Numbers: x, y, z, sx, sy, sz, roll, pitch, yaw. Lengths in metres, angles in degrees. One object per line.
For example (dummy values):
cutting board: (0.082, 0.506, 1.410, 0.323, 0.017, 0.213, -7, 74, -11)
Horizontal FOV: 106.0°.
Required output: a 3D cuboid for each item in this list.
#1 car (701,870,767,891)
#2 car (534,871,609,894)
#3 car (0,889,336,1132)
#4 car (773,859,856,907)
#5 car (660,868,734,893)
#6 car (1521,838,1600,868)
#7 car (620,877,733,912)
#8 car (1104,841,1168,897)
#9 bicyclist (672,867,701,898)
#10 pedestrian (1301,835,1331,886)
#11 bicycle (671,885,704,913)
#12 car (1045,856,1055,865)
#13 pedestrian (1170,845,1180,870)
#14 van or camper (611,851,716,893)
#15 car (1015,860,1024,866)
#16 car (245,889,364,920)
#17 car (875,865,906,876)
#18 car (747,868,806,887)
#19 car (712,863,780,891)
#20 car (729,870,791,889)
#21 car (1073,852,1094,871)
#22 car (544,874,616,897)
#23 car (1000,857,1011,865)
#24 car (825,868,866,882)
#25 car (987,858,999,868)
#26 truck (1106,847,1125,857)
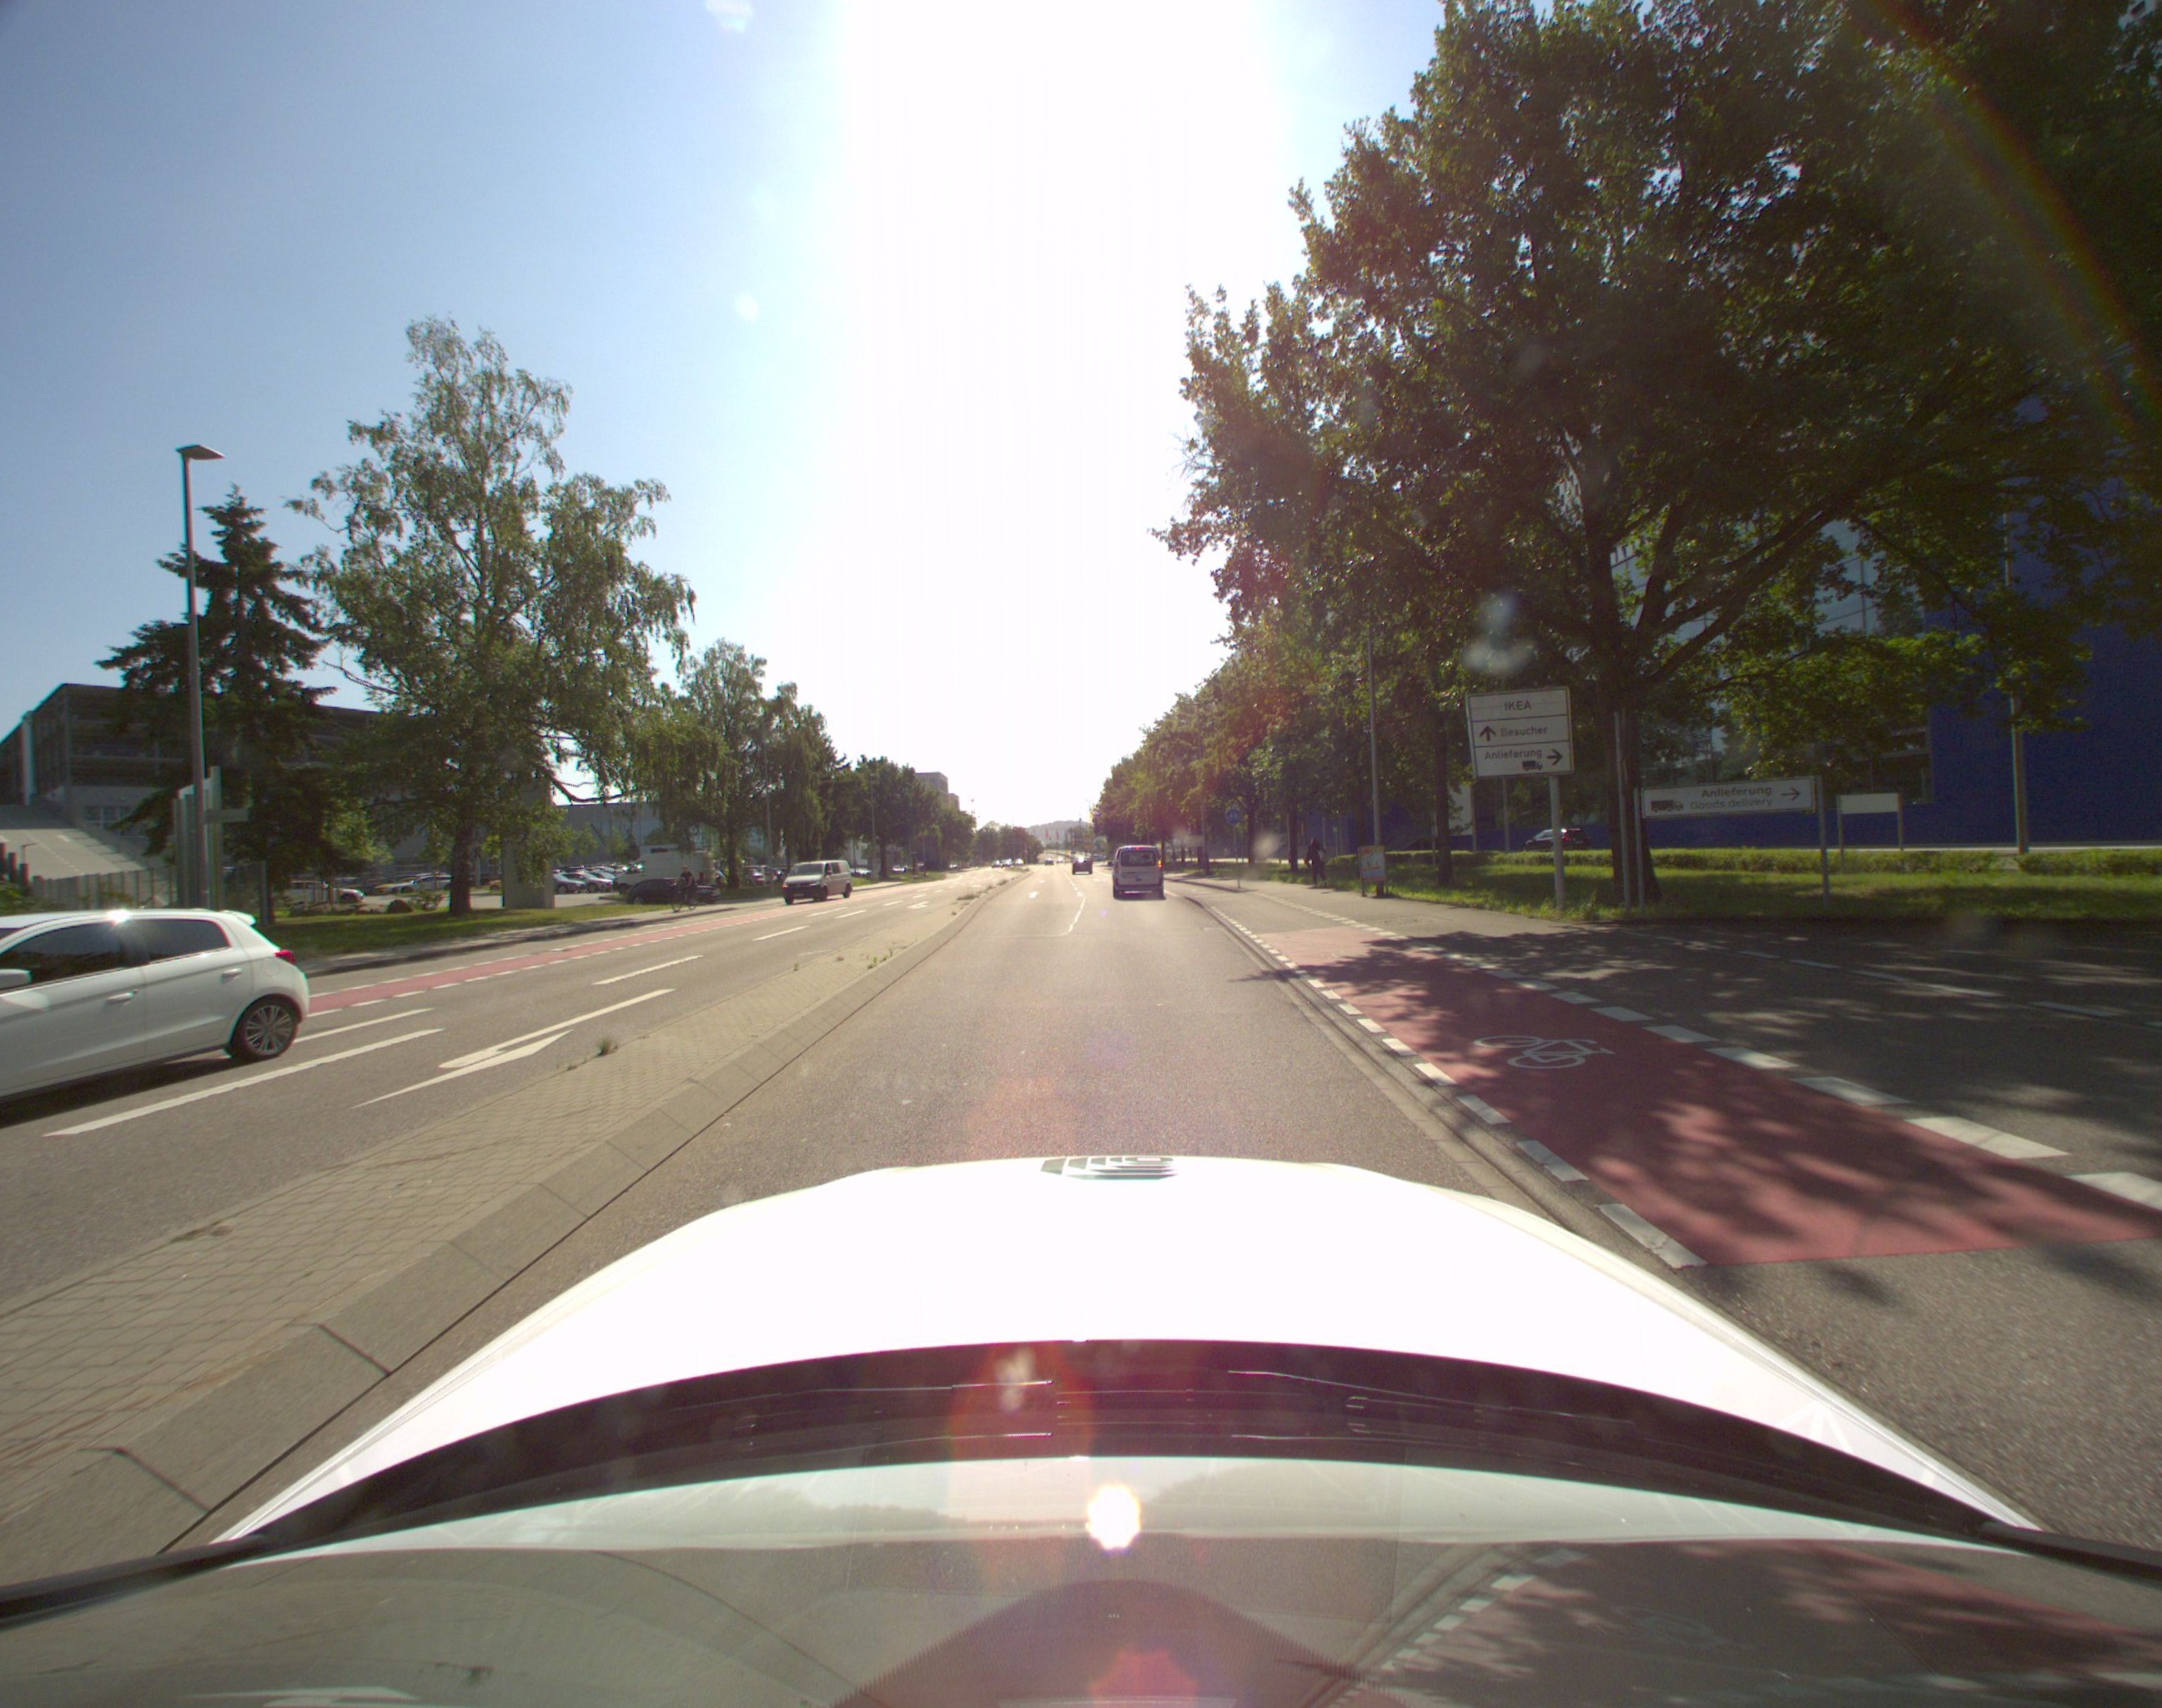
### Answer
car: (-25.425, 1.934, 59.757, 4.073, 1.293, 1.744, -3, 0, 0)
car: (-35.377, 1.976, 56.593, 4.069, 1.354, 1.745, -3, 0, 3)
car: (-8.224, 1.189, 6.146, 1.639, 1.494, 3.826, -4, 1, -2)
car: (-12.973, 1.353, 40.058, 1.985, 2.013, 5.351, -3, 0, 3)
car: (-25.730, 1.761, 54.669, 4.069, 1.438, 1.745, -3, 0, 3)
car: (27.369, -0.051, 46.639, 1.899, 1.520, 4.373, -3, 0, 0)
car: (-20.222, 2.021, 40.832, 4.645, 1.413, 2.002, -3, 0, 4)
car: (1.932, 0.515, 29.631, 1.900, 1.829, 4.178, -3, 0, -1)
bicyclist: (-16.272, 1.163, 33.599, 0.631, 1.227, 0.951, -3, 0, 3)
pedestrian: (7.643, 0.212, 26.525, 0.645, 1.603, 0.846, -3, 0, -1)
bicycle: (-16.241, 1.846, 33.666, 0.444, 1.027, 1.617, -3, 0, 3)
car: (-6.563, 1.382, 174.052, 1.988, 1.684, 3.998, -3, 0, -1)
pedestrian: (6.866, 0.256, 59.429, 0.533, 1.841, 0.727, -3, 0, -1)
van or camper: (-25.777, 1.090, 50.455, 5.367, 2.470, 1.997, -1, 1, -4)
car: (-16.166, 2.495, 215.491, 1.808, 1.464, 4.003, -3, 0, 3)
car: (-45.050, 2.898, 47.356, 1.974, 1.442, 4.579, -3, 0, 32)
car: (-27.824, 2.440, 119.069, 4.031, 1.376, 2.024, -3, 0, -2)
car: (-26.372, 2.014, 70.585, 4.252, 1.381, 1.954, -3, 0, 0)
car: (-25.593, 1.711, 62.280, 4.252, 1.884, 1.954, -3, 0, 0)
car: (-26.635, 2.103, 67.685, 4.252, 1.328, 1.954, -3, 0, 0)
car: (0.261, 0.694, 77.559, 1.800, 1.640, 4.460, -3, 0, 2)
car: (-36.388, 2.268, 59.243, 4.075, 1.438, 1.743, -3, 0, -1)
car: (-15.220, 1.434, 163.949, 1.836, 1.463, 4.997, -5, 0, -1)
car: (-27.556, 2.436, 95.366, 4.252, 1.350, 1.954, -3, 0, 0)
car: (-18.527, 1.955, 171.370, 1.987, 2.013, 4.000, -1, 1, 0)
truck: (9.342, -0.532, 219.701, 4.865, 2.423, 2.000, -1, 1, -1)
